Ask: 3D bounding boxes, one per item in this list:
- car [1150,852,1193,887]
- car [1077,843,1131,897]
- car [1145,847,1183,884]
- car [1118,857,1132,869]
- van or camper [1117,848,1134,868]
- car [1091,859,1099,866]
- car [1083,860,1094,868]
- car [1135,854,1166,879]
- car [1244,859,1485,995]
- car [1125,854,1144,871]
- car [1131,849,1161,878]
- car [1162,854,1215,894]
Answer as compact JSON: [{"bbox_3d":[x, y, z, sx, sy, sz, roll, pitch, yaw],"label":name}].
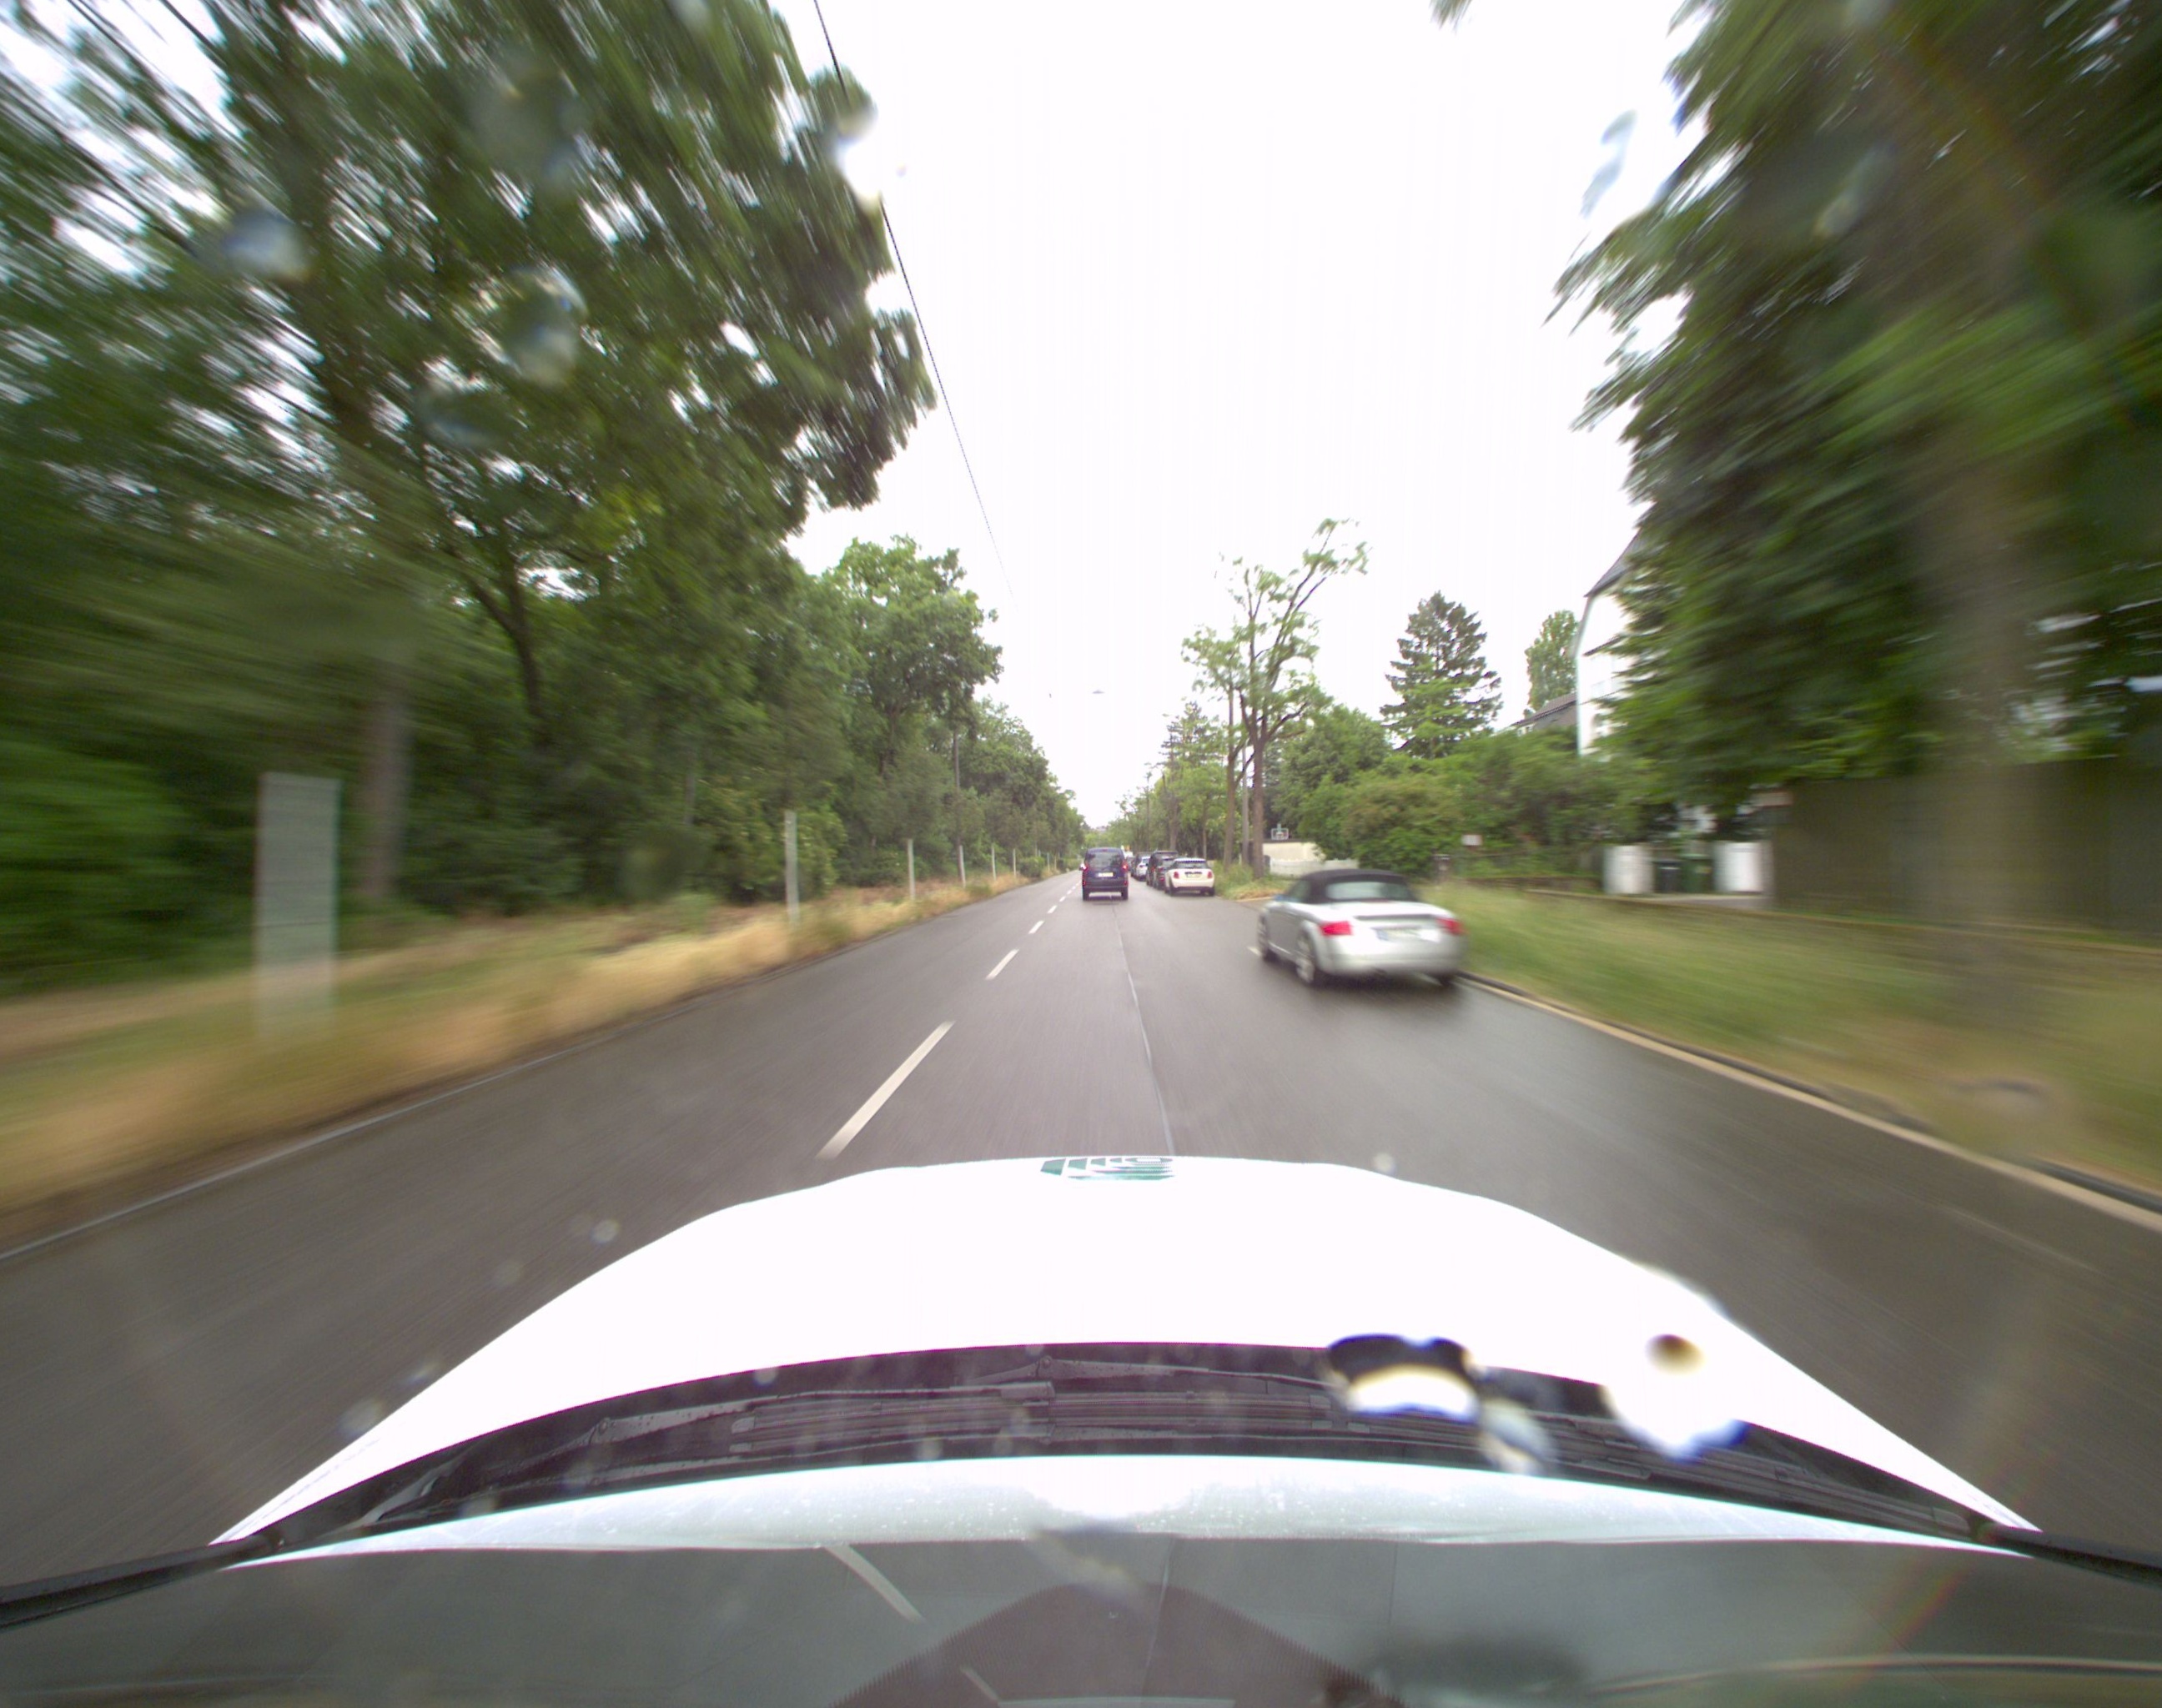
[{"bbox_3d":[4.161,0.667,37.940,1.672,1.555,4.077,0,0,1],"label":"car"},{"bbox_3d":[0.765,0.550,29.464,1.762,1.830,3.540,0,0,-1],"label":"car"},{"bbox_3d":[4.391,0.578,43.453,1.724,1.847,4.231,0,0,2],"label":"car"},{"bbox_3d":[5.582,1.119,103.557,1.618,1.464,3.812,0,0,4],"label":"car"},{"bbox_3d":[6.078,0.521,111.360,2.071,2.650,5.347,0,0,1],"label":"van or camper"},{"bbox_3d":[3.545,2.135,206.190,1.777,1.479,3.968,-2,-2,1],"label":"car"},{"bbox_3d":[1.378,1.908,152.385,1.853,1.480,4.158,-2,-1,2],"label":"car"},{"bbox_3d":[4.582,0.801,54.041,1.798,1.613,4.287,0,0,1],"label":"car"},{"bbox_3d":[3.398,0.786,10.610,1.776,1.395,4.000,0,0,0],"label":"car"},{"bbox_3d":[5.926,0.962,90.786,1.809,1.813,4.282,0,0,0],"label":"car"},{"bbox_3d":[4.778,0.679,60.446,1.986,2.013,4.890,0,0,2],"label":"car"},{"bbox_3d":[4.204,0.738,32.273,1.731,1.464,3.726,0,0,1],"label":"car"}]
